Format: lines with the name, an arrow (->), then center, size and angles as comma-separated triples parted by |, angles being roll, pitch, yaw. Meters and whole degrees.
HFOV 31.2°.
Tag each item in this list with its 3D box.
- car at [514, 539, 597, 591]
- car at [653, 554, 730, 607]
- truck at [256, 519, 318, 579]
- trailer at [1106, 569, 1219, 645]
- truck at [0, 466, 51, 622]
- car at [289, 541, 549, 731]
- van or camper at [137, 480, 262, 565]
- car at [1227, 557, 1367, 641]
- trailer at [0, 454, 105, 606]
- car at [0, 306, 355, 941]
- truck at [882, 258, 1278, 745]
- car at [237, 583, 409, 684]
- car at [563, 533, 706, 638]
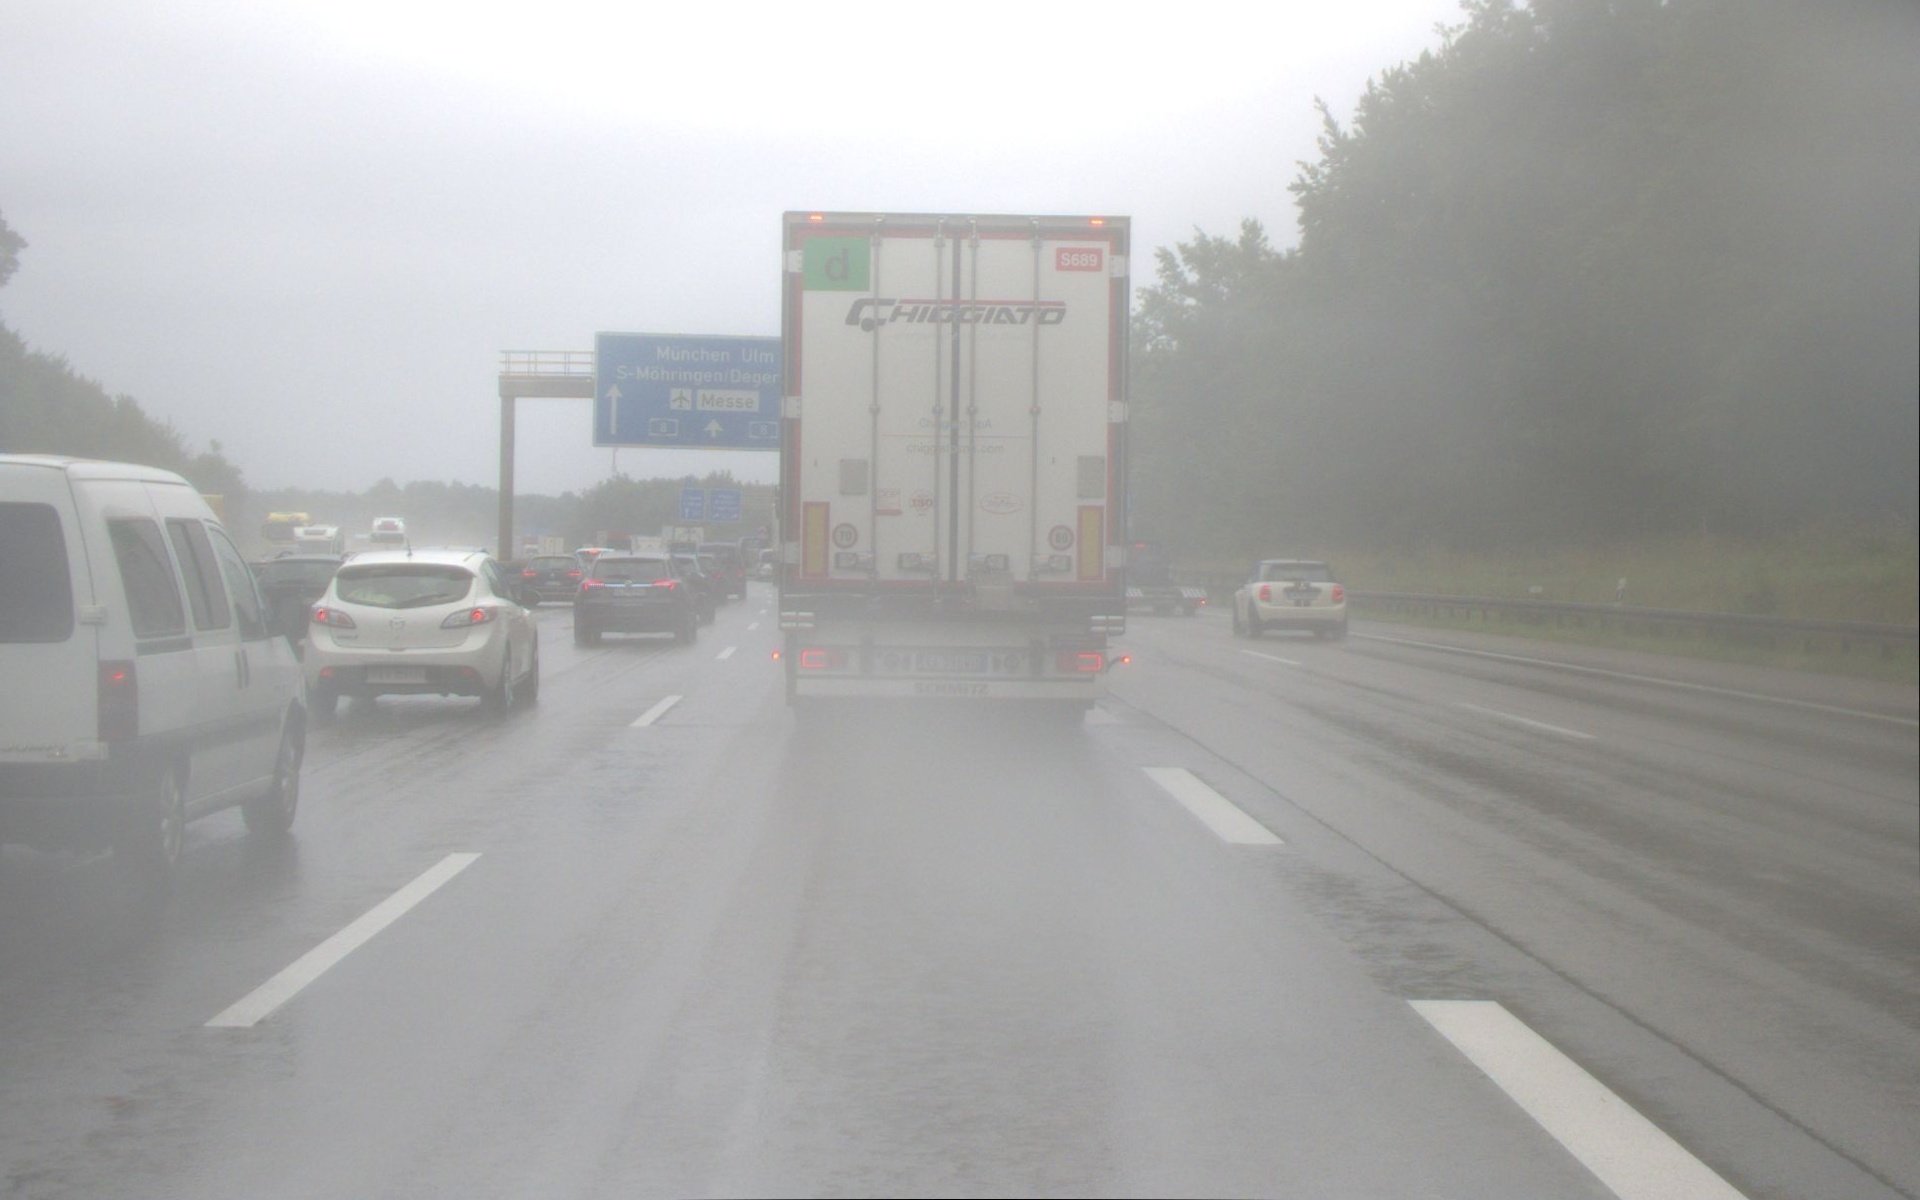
car -> -10.866, -0.966, 92.656 | 1.845, 1.326, 4.467 | 1, 1, -2
car -> -7.191, -0.542, 92.438 | 1.845, 1.326, 4.467 | 1, 1, -2
truck -> -40.570, -3.097, 207.446 | 2.519, 3.471, 11.722 | 1, 1, -5
trailer -> 4.941, 0.145, 84.679 | 2.243, 1.708, 5.083 | 1, 1, -3
truck -> -25.549, -1.445, 88.996 | 2.377, 3.940, 6.537 | 0, 1, -1
car -> -4.877, 0.274, 31.489 | 1.845, 1.586, 4.072 | 1, 1, -2
van or camper -> -27.669, -2.801, 125.432 | 2.842, 2.968, 8.787 | 1, 1, -2
car -> 6.021, -0.048, 61.782 | 1.790, 1.402, 4.229 | 1, 1, -4
trailer -> -25.656, -1.877, 93.951 | 2.377, 3.940, 9.423 | 0, 1, -1
car -> -4.470, 0.028, 16.412 | 2.213, 2.564, 5.016 | 1, 1, 1
truck -> 0.945, -0.787, 30.966 | 2.872, 3.550, 11.302 | 1, 1, 1
car -> -9.358, 0.457, 50.818 | 1.845, 1.326, 4.467 | 1, 1, -2
car -> -5.211, -0.264, 55.533 | 1.845, 1.586, 4.467 | 1, 1, 0
